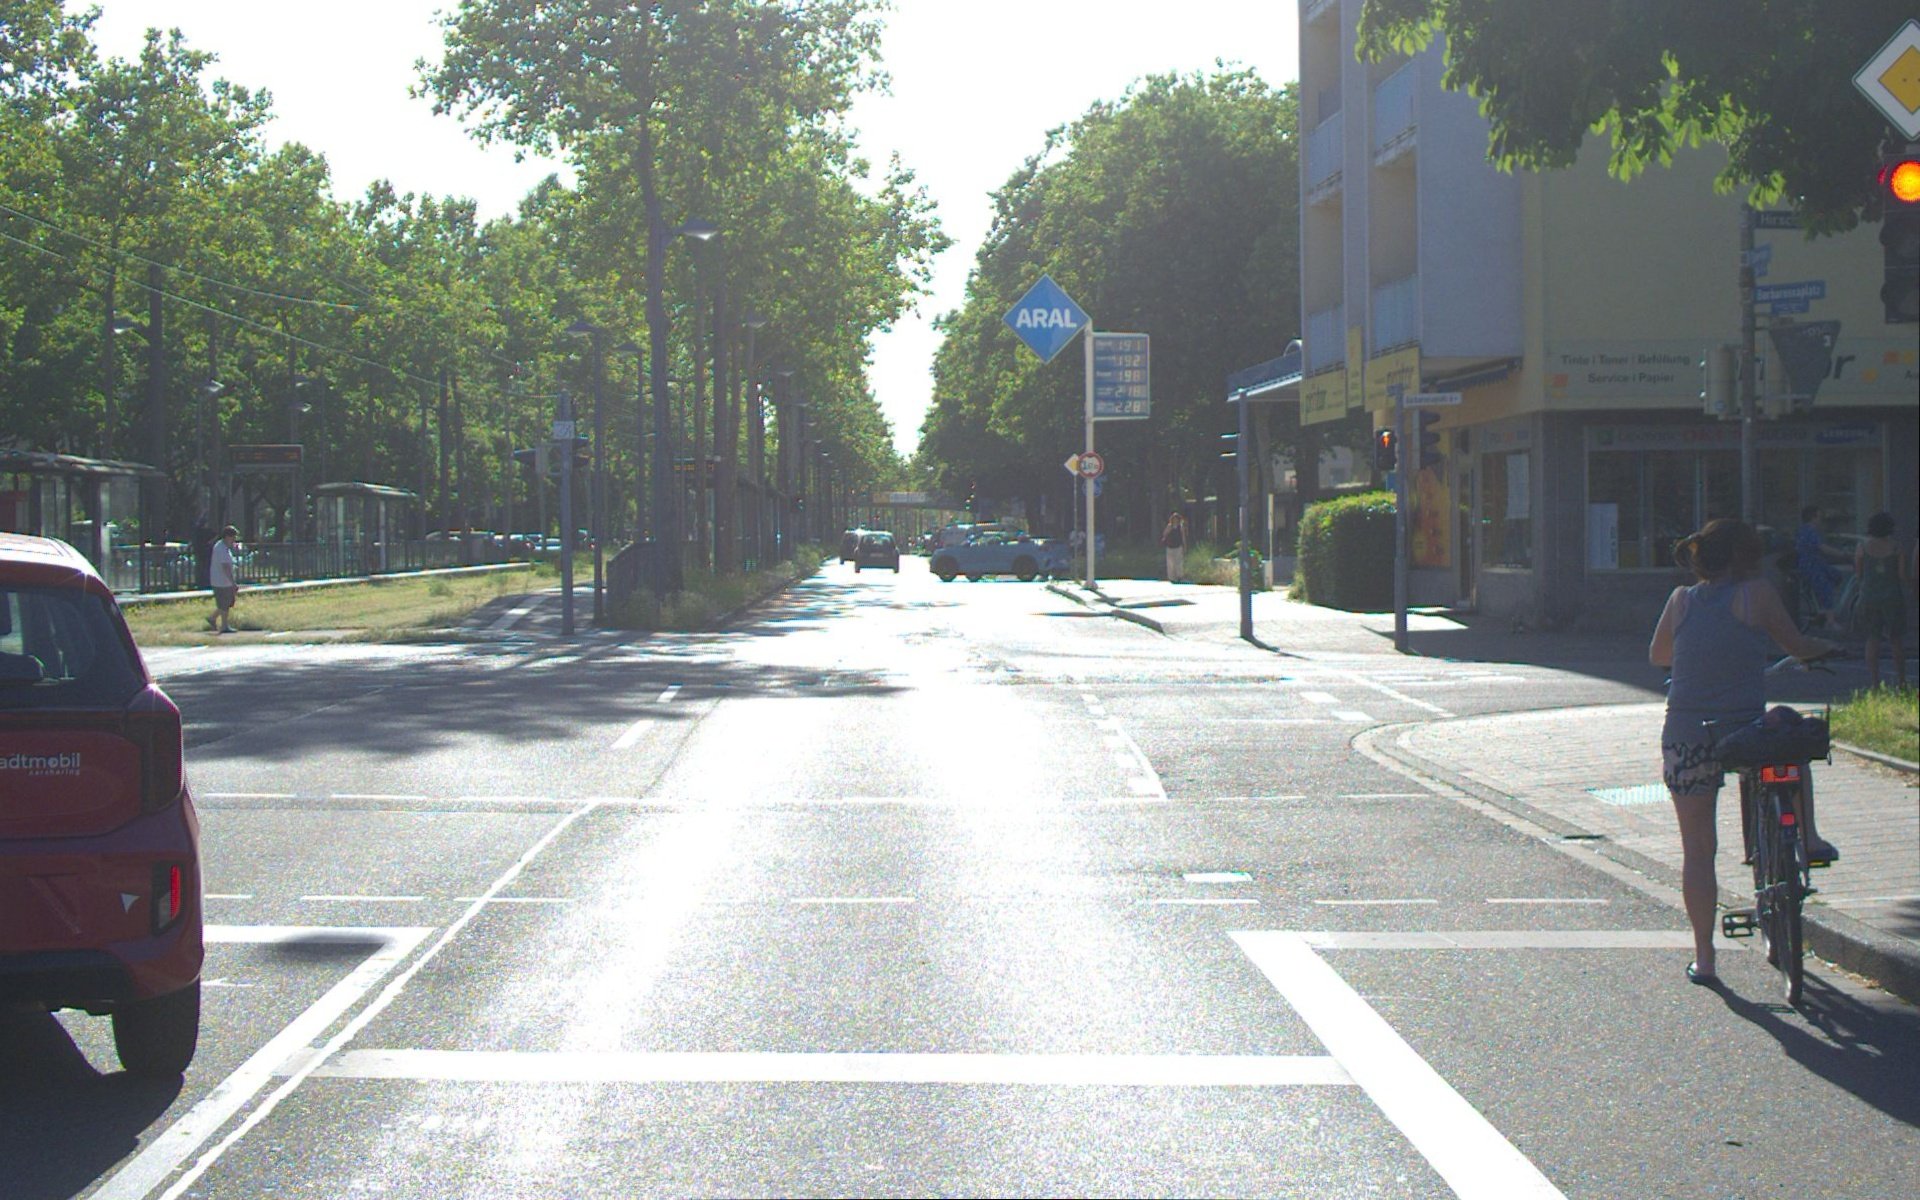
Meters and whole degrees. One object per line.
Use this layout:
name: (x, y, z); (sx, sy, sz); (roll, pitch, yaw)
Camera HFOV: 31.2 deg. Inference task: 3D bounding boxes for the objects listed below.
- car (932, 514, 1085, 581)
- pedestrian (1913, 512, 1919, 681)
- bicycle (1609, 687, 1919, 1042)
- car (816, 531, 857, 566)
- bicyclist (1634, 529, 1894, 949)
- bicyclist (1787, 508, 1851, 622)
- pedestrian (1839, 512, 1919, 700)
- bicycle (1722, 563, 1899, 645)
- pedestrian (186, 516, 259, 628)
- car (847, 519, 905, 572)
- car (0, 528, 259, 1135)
car: (1.429, -1.551, 101.690); (3.992, 1.853, 2.009); (3, 1, 25)
pedestrian: (8.315, -0.157, 28.433); (0.730, 1.676, 0.532); (2, 1, 12)
bicycle: (2.609, 0.819, 11.262); (0.648, 0.969, 1.803); (2, 1, 2)
car: (-5.993, -2.526, 166.673); (1.894, 1.605, 4.501); (2, 1, -2)
bicyclist: (2.645, 0.435, 11.377); (0.638, 1.318, 0.803); (2, 1, 1)
bicyclist: (11.357, -0.468, 45.456); (0.769, 1.466, 0.897); (-1, 2, 16)
pedestrian: (7.636, 0.044, 28.385); (0.647, 1.517, 0.496); (2, 1, 11)
bicycle: (11.249, 0.044, 45.482); (2.253, 0.984, 0.788); (1, 6, 15)
pedestrian: (-10.800, -0.412, 50.376); (0.891, 1.601, 0.613); (2, 1, -1)
car: (-3.112, -2.008, 126.822); (1.968, 1.853, 4.001); (2, 1, -3)
car: (-3.279, 0.542, 10.315); (1.694, 1.503, 3.700); (1, 1, -21)
